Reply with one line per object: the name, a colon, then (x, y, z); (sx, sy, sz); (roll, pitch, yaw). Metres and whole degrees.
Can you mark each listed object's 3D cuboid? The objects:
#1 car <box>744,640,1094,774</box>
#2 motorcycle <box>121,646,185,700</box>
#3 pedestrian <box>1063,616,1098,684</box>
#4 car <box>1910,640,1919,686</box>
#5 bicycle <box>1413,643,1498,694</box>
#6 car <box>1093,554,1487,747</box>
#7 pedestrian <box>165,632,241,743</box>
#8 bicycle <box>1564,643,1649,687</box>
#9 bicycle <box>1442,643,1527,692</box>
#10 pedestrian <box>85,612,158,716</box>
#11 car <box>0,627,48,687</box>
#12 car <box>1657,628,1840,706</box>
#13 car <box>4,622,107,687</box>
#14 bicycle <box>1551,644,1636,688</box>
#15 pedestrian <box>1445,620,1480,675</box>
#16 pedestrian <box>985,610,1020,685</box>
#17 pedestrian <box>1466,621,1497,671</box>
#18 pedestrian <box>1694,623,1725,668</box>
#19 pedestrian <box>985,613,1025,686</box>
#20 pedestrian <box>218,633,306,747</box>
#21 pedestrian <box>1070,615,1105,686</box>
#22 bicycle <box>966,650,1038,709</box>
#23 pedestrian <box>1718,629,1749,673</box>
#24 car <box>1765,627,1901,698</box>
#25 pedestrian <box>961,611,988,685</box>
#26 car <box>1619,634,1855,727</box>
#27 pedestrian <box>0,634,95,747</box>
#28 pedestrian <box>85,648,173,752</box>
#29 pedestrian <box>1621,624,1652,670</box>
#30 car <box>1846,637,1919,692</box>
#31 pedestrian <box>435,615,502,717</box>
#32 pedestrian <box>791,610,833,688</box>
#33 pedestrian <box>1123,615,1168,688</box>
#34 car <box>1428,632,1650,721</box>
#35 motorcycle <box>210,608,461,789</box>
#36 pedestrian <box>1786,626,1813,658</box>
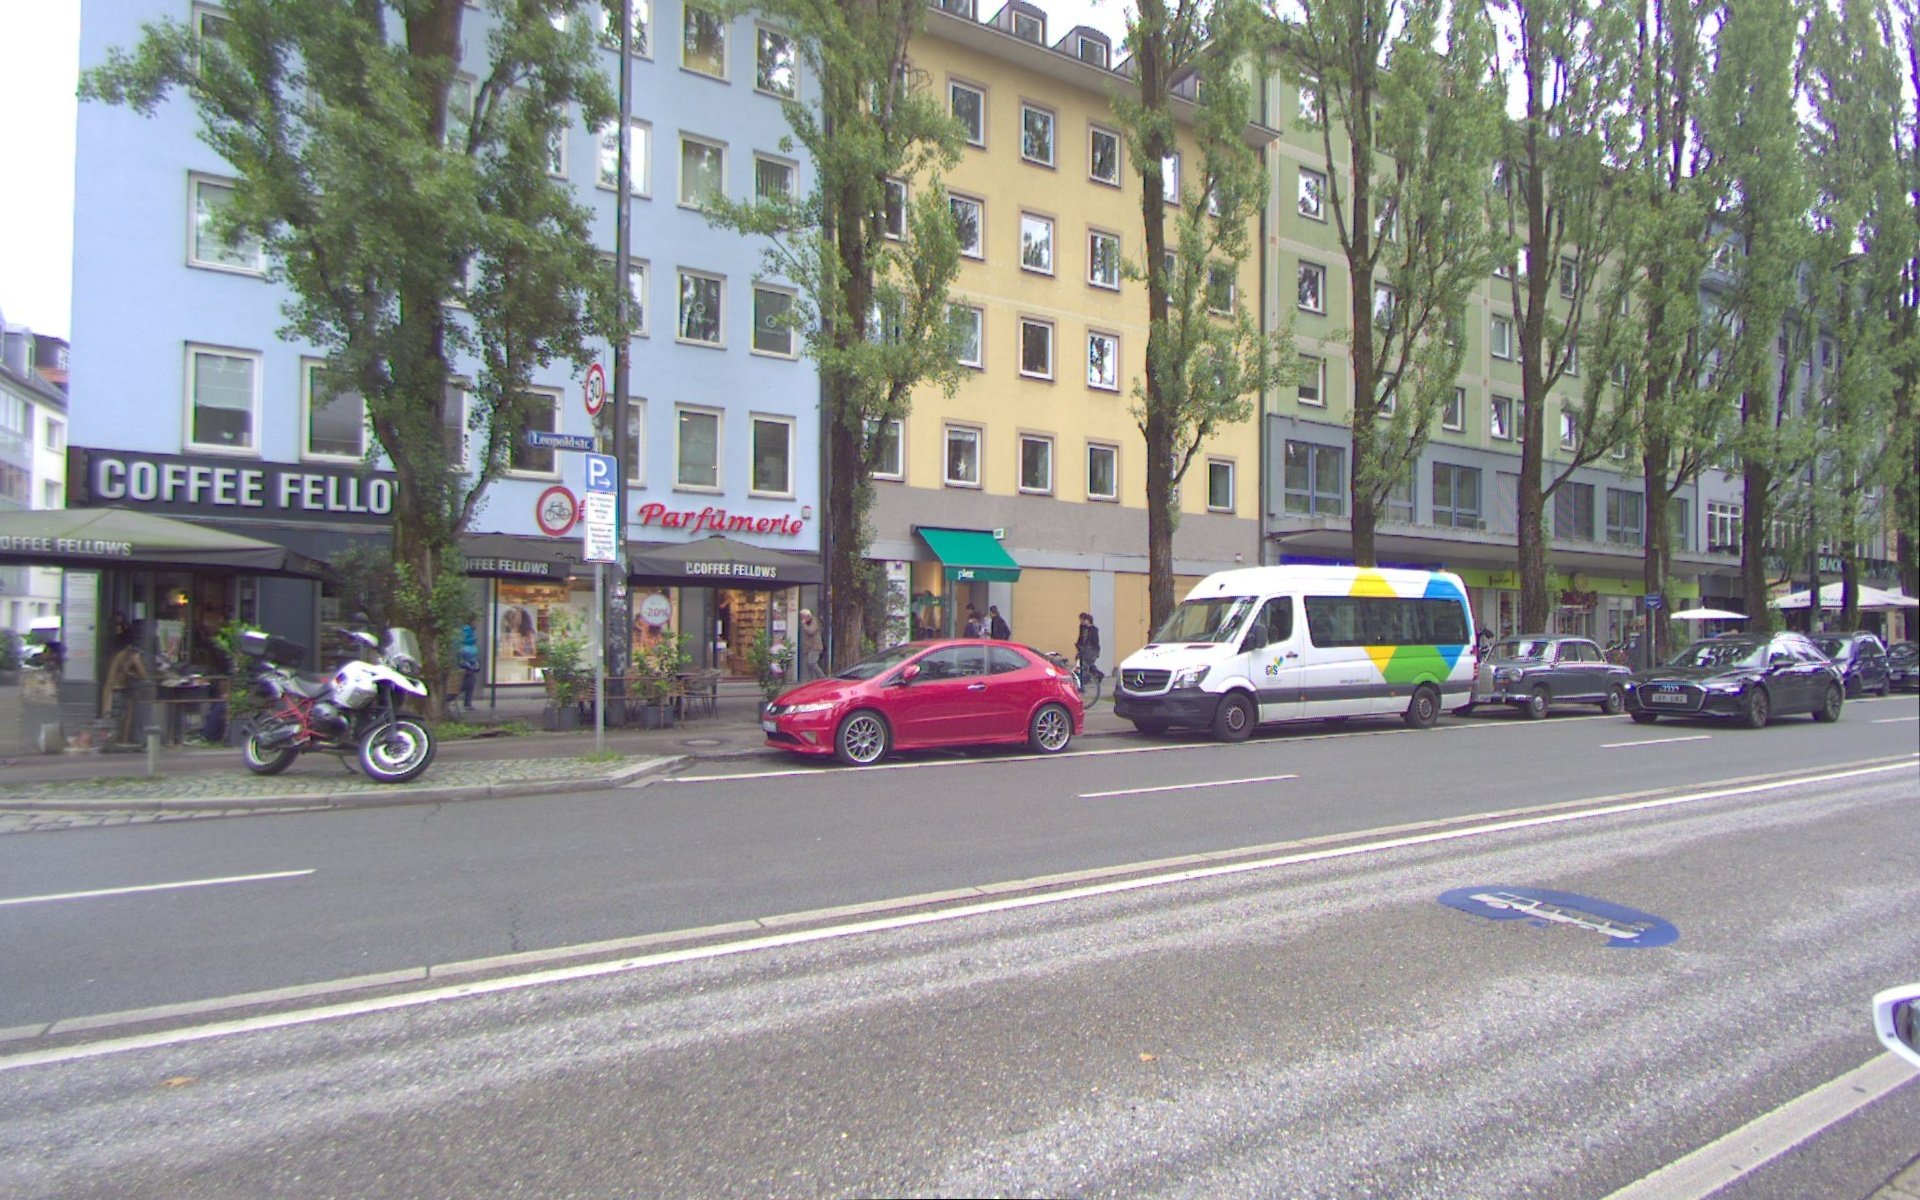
car: (-0.470, 1.240, 12.669); (4.100, 1.438, 1.729); (1, -3, -30)
motorcycle: (-19.985, 1.772, 24.931); (0.729, 1.219, 2.748); (-1, -1, -28)
pedestrian: (3.074, 1.271, 25.678); (0.713, 1.722, 0.699); (0, -2, -9)
car: (32.072, 1.971, 31.858); (4.095, 1.444, 1.725); (1, -3, -30)
bicycle: (12.455, 1.703, 25.316); (0.710, 1.110, 1.862); (1, 1, -27)
car: (5.464, 0.786, 16.150); (6.831, 2.601, 1.996); (1, -3, -30)
pedestrian: (-9.751, 1.101, 12.969); (0.692, 1.380, 0.709); (1, -2, -32)
bicycle: (18.825, 1.866, 29.285); (0.712, 1.110, 1.933); (1, 1, -36)
bicycle: (13.537, 1.724, 25.988); (0.710, 1.110, 1.862); (1, 1, -27)
pedestrian: (-14.981, 1.130, 17.956); (0.933, 1.796, 0.699); (-1, -2, 30)
car: (-30.505, 1.785, 31.329); (2.093, 1.789, 4.551); (1, -3, -30)
car: (18.756, 1.547, 23.860); (4.557, 1.686, 1.858); (1, -3, -30)
car: (-35.601, 2.148, 39.674); (1.959, 2.396, 4.554); (1, -3, -29)
bicycle: (18.147, 1.865, 28.814); (0.712, 1.110, 1.933); (1, 1, -36)
pedestrian: (15.895, 1.508, 31.783); (0.667, 1.708, 0.753); (2, -3, -29)
pedestrian: (0.957, 1.069, 22.674); (0.713, 1.657, 0.699); (0, -2, -6)
pedestrian: (18.036, 1.592, 34.749); (0.749, 1.708, 0.670); (2, -3, -29)
pedestrian: (29.237, 1.772, 39.172); (0.667, 1.708, 0.753); (2, -3, -29)
pedestrian: (1.086, 1.178, 24.120); (0.717, 1.722, 0.695); (1, -2, -25)
pedestrian: (-8.790, 1.103, 12.680); (0.838, 1.380, 0.694); (1, -2, -31)
pedestrian: (3.170, 1.250, 24.963); (0.713, 1.722, 0.699); (0, -2, -9)
bicycle: (0.769, 1.466, 18.872); (0.416, 1.040, 1.764); (1, -2, -32)
pedestrian: (30.626, 2.007, 39.761); (0.667, 1.708, 0.753); (2, -3, -29)
car: (23.198, 1.632, 26.665); (3.880, 1.743, 1.700); (1, -3, -33)
pedestrian: (0.332, 1.087, 22.971); (0.553, 1.657, 0.699); (0, -2, -6)
car: (13.841, 1.360, 17.829); (4.657, 1.481, 1.690); (1, -3, -30)
pedestrian: (-11.667, 1.126, 12.800); (0.808, 1.380, 0.695); (1, -2, -27)
pedestrian: (-10.072, 1.188, 12.205); (0.692, 1.198, 0.811); (1, -2, -31)
pedestrian: (25.981, 1.806, 38.582); (0.667, 1.708, 0.753); (2, -2, -28)
car: (27.881, 1.847, 29.291); (4.299, 1.508, 1.790); (1, -3, -30)
pedestrian: (-8.294, 1.093, 16.952); (0.940, 1.668, 0.694); (1, -2, -32)
pedestrian: (-3.222, 1.065, 21.854); (0.718, 1.657, 0.695); (1, -2, -28)
pedestrian: (4.452, 1.235, 24.124); (0.775, 1.708, 0.753); (1, -2, -27)
car: (11.426, 1.446, 19.772); (4.362, 1.572, 1.858); (1, -3, -30)
motorcycle: (-6.022, 0.891, 9.683); (2.301, 1.584, 0.715); (1, -1, 18)
pedestrian: (38.443, 1.906, 46.010); (0.792, 1.428, 0.760); (2, 0, -35)
